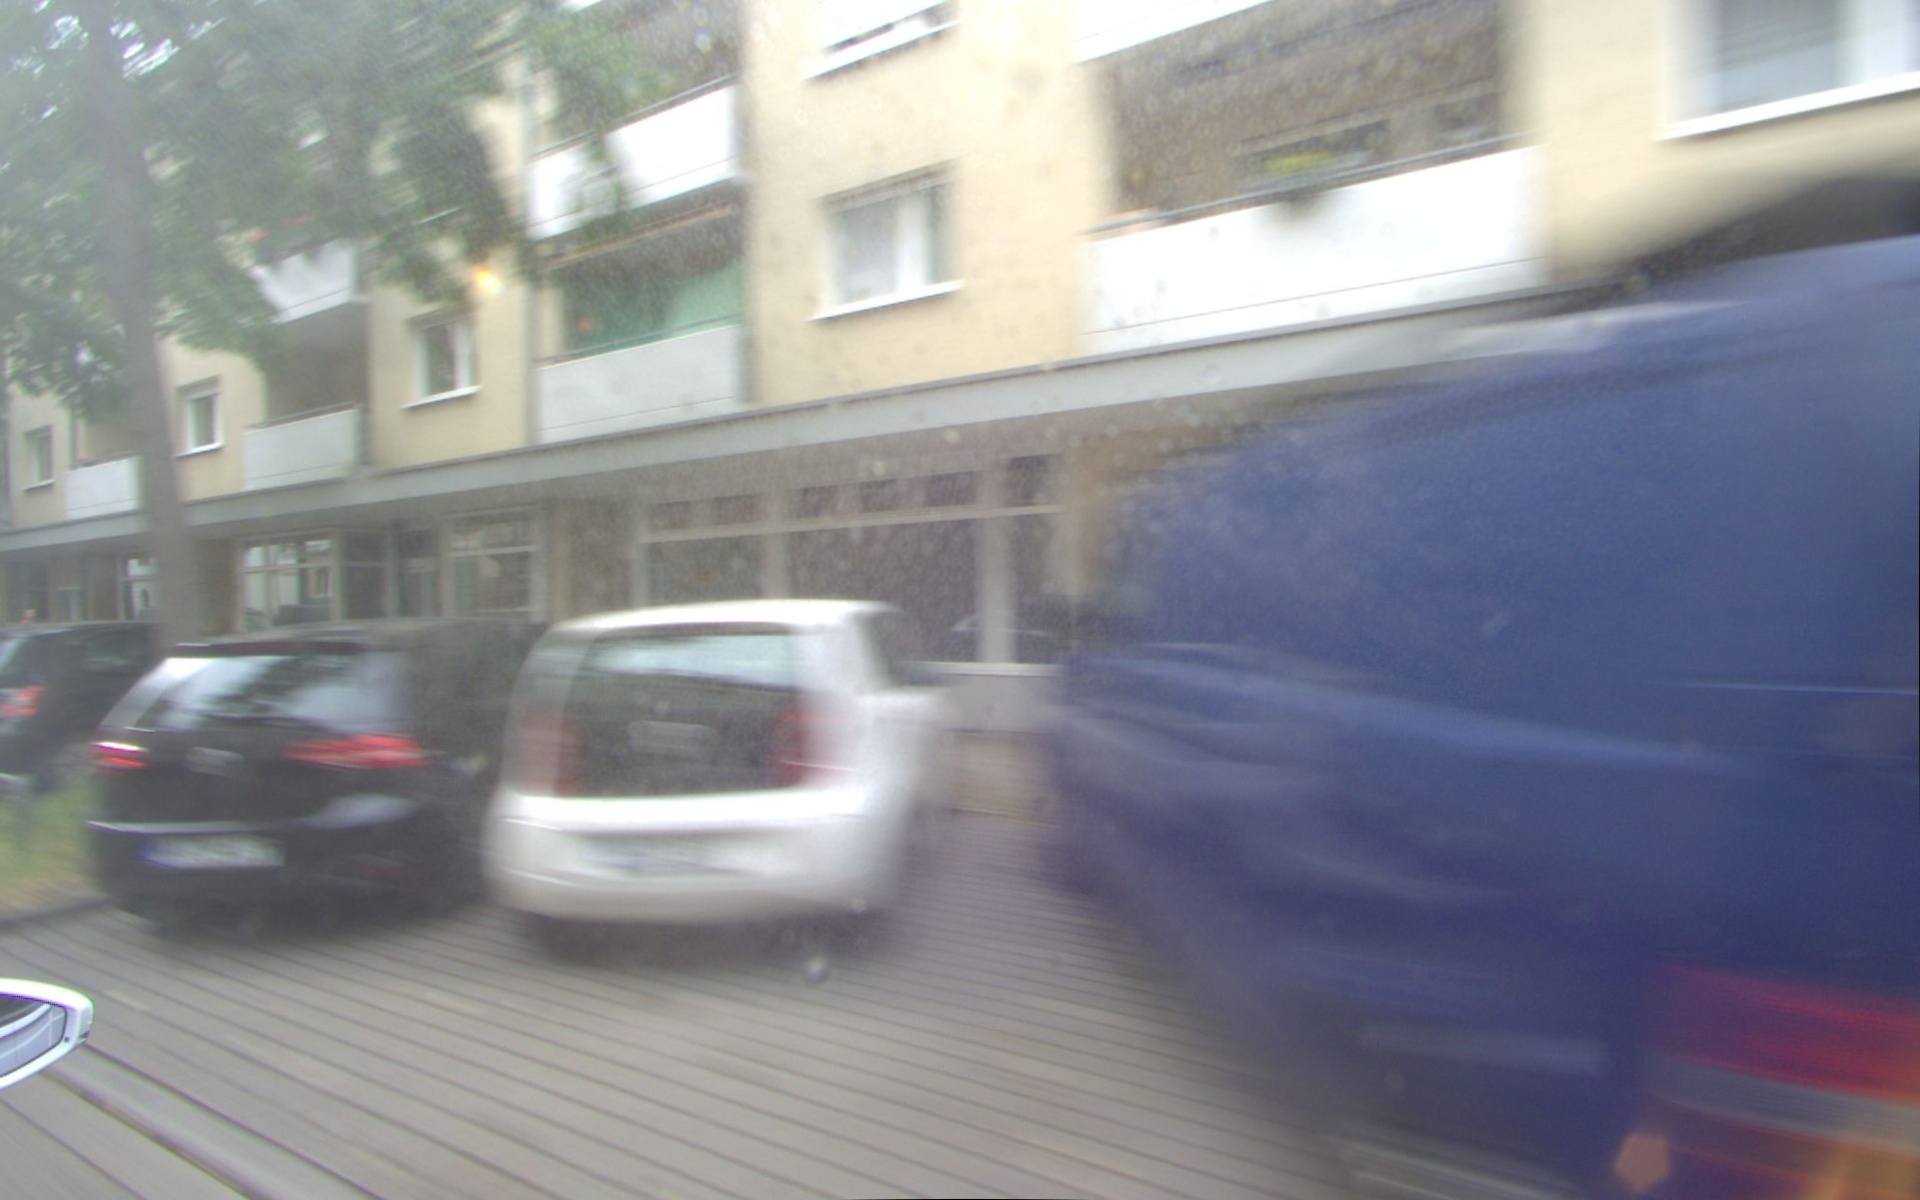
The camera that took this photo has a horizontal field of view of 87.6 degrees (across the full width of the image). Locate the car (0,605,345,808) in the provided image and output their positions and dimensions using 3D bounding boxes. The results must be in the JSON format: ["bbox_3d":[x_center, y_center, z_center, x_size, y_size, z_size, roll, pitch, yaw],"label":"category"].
[{"bbox_3d":[-7.985,0.863,9.549,1.817,1.516,3.368,-2,1,9],"label":"car"}]

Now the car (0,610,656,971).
[{"bbox_3d":[-3.319,0.811,6.260,1.817,1.461,4.113,-1,0,-4],"label":"car"}]

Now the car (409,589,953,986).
[{"bbox_3d":[-1.086,0.732,5.752,1.789,1.485,3.914,-1,0,4],"label":"car"}]

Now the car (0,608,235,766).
[{"bbox_3d":[-10.525,0.922,10.915,1.937,1.521,4.225,-2,1,4],"label":"car"}]

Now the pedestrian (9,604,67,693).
[{"bbox_3d":[-18.758,0.967,20.381,0.837,1.765,0.623,-1,1,32],"label":"pedestrian"}]

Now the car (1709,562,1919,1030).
[{"bbox_3d":[3.924,0.641,2.246,1.656,1.501,3.665,-1,1,-2],"label":"car"}]

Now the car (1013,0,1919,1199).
[{"bbox_3d":[1.575,0.298,3.240,2.027,2.226,4.702,-1,2,-7],"label":"car"}]

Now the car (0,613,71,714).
[{"bbox_3d":[-15.436,0.987,14.148,1.910,1.503,4.051,-1,0,6],"label":"car"}]
